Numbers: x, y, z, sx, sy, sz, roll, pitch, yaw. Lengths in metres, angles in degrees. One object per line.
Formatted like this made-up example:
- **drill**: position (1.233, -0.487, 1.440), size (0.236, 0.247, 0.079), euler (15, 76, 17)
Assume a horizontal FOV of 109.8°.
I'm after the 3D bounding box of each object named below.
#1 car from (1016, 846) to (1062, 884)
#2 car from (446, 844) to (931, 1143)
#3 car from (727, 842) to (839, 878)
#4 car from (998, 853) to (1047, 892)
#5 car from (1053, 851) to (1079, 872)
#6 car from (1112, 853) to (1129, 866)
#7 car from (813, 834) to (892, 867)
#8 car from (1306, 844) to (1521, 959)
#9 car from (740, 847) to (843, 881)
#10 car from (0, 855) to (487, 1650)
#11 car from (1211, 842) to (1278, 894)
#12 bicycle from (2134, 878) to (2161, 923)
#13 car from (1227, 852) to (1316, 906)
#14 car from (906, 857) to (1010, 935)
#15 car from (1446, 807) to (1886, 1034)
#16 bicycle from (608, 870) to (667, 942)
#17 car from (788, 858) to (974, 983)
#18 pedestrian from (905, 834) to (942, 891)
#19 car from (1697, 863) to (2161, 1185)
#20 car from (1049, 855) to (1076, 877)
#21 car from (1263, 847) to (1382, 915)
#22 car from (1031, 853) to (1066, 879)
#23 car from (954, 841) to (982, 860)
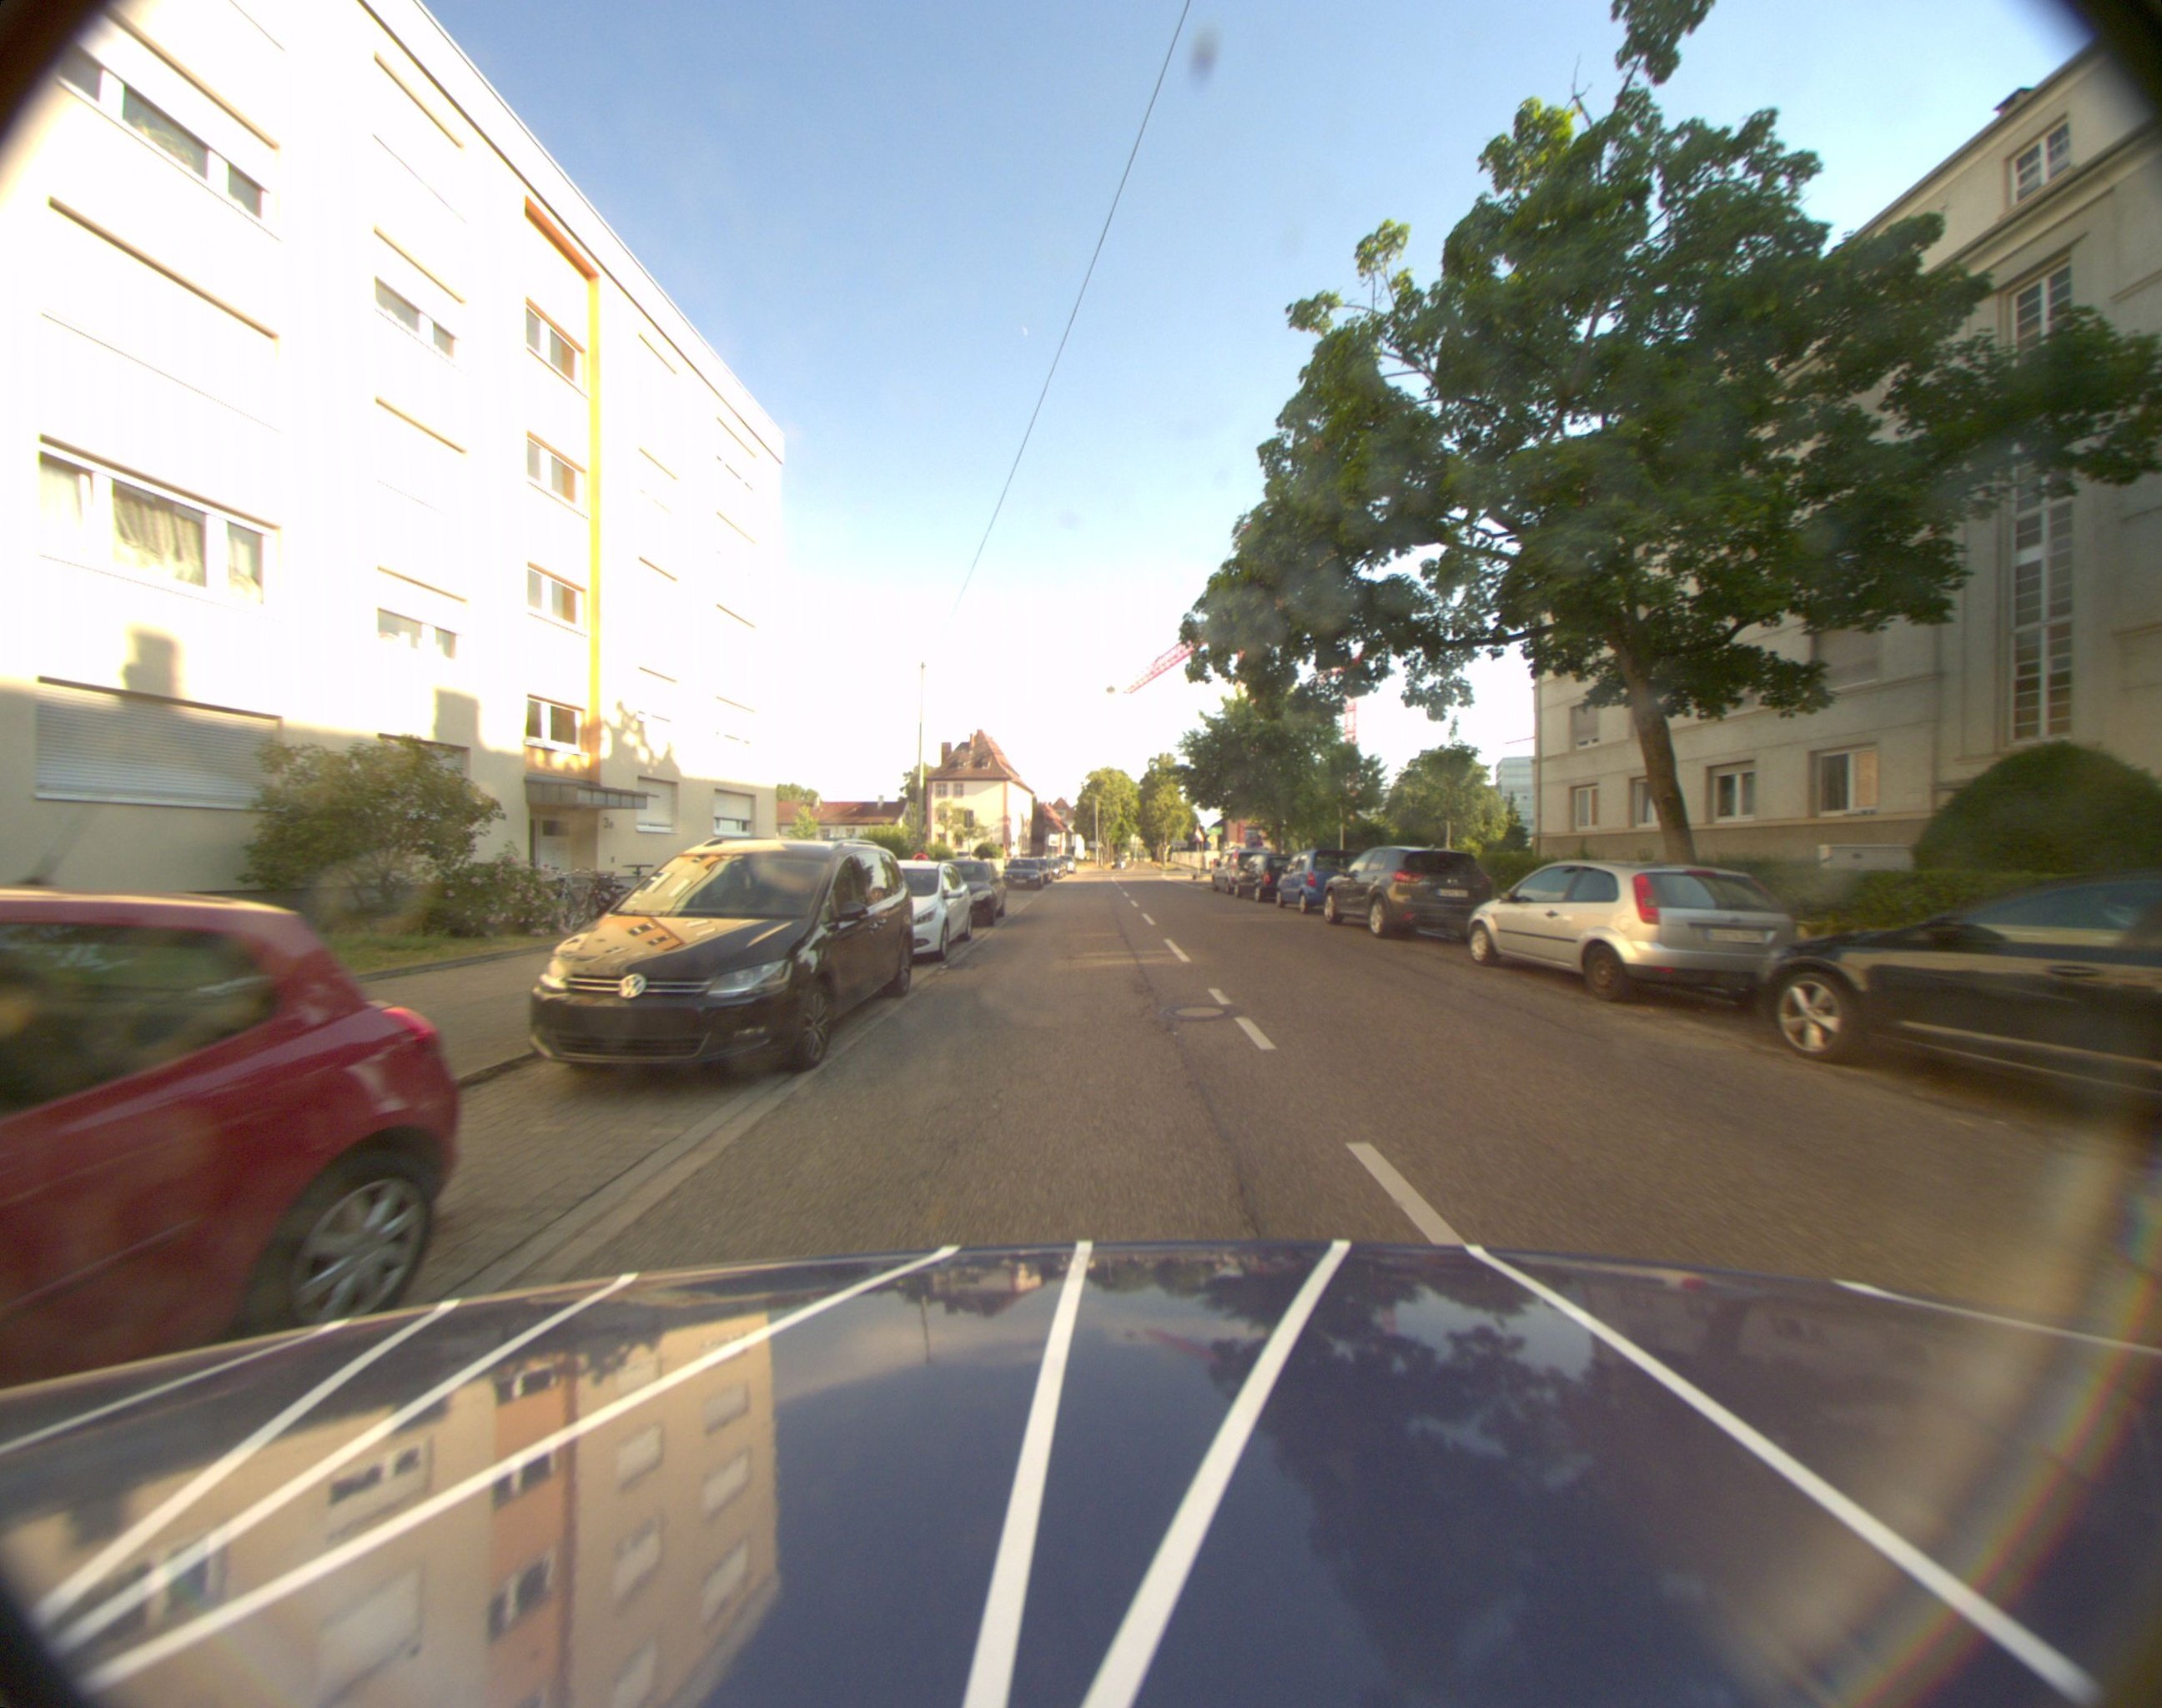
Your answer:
- **car**: position (-2.380, 0.579, 43.999), size (1.906, 1.769, 4.582), euler (9, 2, 3)
- **car**: position (-2.737, 0.791, 6.745), size (1.776, 1.668, 4.645), euler (-2, 1, 1)
- **car**: position (-13.741, 0.273, 35.157), size (4.486, 1.593, 1.732), euler (0, 2, 4)
- **car**: position (-2.714, 0.815, 36.257), size (1.891, 1.552, 4.945), euler (4, 1, -1)
- **car**: position (-1.359, 0.666, 70.250), size (1.925, 1.769, 4.810), euler (3, 1, 3)
- **car**: position (4.831, 0.687, 93.493), size (1.776, 1.492, 3.673), euler (-1, 0, -2)
- **car**: position (-13.681, -0.234, 45.622), size (3.996, 1.784, 2.000), euler (-3, 1, 1)
- **car**: position (6.005, 0.729, 14.471), size (1.878, 1.749, 4.688), euler (3, 1, -1)
- **car**: position (-14.560, 0.513, 38.360), size (4.487, 1.447, 1.732), euler (-3, 1, 4)
- **car**: position (-3.141, 0.857, 0.840), size (1.776, 1.607, 3.999), euler (1, 1, 1)
- **car**: position (6.425, 0.499, 30.343), size (1.846, 1.886, 4.486), euler (0, 1, 2)
- **bicycle**: position (18.011, 0.787, 11.947), size (0.409, 0.705, 1.788), euler (-3, 1, 0)
- **car**: position (6.237, 0.771, 25.352), size (1.878, 1.543, 3.999), euler (2, 1, -1)
- **car**: position (-2.810, 0.898, 18.412), size (1.803, 1.498, 4.620), euler (-1, 1, -1)
- **car**: position (6.212, 0.559, 8.831), size (1.998, 2.002, 3.999), euler (1, 1, 1)
- **bicycle**: position (-7.963, 0.900, 13.673), size (0.334, 1.185, 1.240), euler (1, 1, 0)
- **car**: position (-2.935, 0.896, 12.094), size (1.776, 1.499, 3.999), euler (-3, 1, 1)
- **pedestrian**: position (-5.351, 0.271, 25.889), size (0.891, 1.880, 1.279), euler (-3, 1, 1)
- **car**: position (5.979, 0.845, 3.749), size (1.878, 1.426, 4.802), euler (1, 1, -1)
- **car**: position (-1.386, 0.888, 59.762), size (1.746, 1.532, 4.440), euler (1, 1, 3)
- **car**: position (6.418, 0.639, 20.674), size (1.878, 1.543, 3.999), euler (-3, 1, -1)
- **car**: position (-2.229, 0.788, 52.832), size (1.906, 1.521, 4.810), euler (2, 1, 3)
- **car**: position (-10.249, -0.341, 69.315), size (1.657, 1.652, 4.000), euler (-3, 1, 3)
